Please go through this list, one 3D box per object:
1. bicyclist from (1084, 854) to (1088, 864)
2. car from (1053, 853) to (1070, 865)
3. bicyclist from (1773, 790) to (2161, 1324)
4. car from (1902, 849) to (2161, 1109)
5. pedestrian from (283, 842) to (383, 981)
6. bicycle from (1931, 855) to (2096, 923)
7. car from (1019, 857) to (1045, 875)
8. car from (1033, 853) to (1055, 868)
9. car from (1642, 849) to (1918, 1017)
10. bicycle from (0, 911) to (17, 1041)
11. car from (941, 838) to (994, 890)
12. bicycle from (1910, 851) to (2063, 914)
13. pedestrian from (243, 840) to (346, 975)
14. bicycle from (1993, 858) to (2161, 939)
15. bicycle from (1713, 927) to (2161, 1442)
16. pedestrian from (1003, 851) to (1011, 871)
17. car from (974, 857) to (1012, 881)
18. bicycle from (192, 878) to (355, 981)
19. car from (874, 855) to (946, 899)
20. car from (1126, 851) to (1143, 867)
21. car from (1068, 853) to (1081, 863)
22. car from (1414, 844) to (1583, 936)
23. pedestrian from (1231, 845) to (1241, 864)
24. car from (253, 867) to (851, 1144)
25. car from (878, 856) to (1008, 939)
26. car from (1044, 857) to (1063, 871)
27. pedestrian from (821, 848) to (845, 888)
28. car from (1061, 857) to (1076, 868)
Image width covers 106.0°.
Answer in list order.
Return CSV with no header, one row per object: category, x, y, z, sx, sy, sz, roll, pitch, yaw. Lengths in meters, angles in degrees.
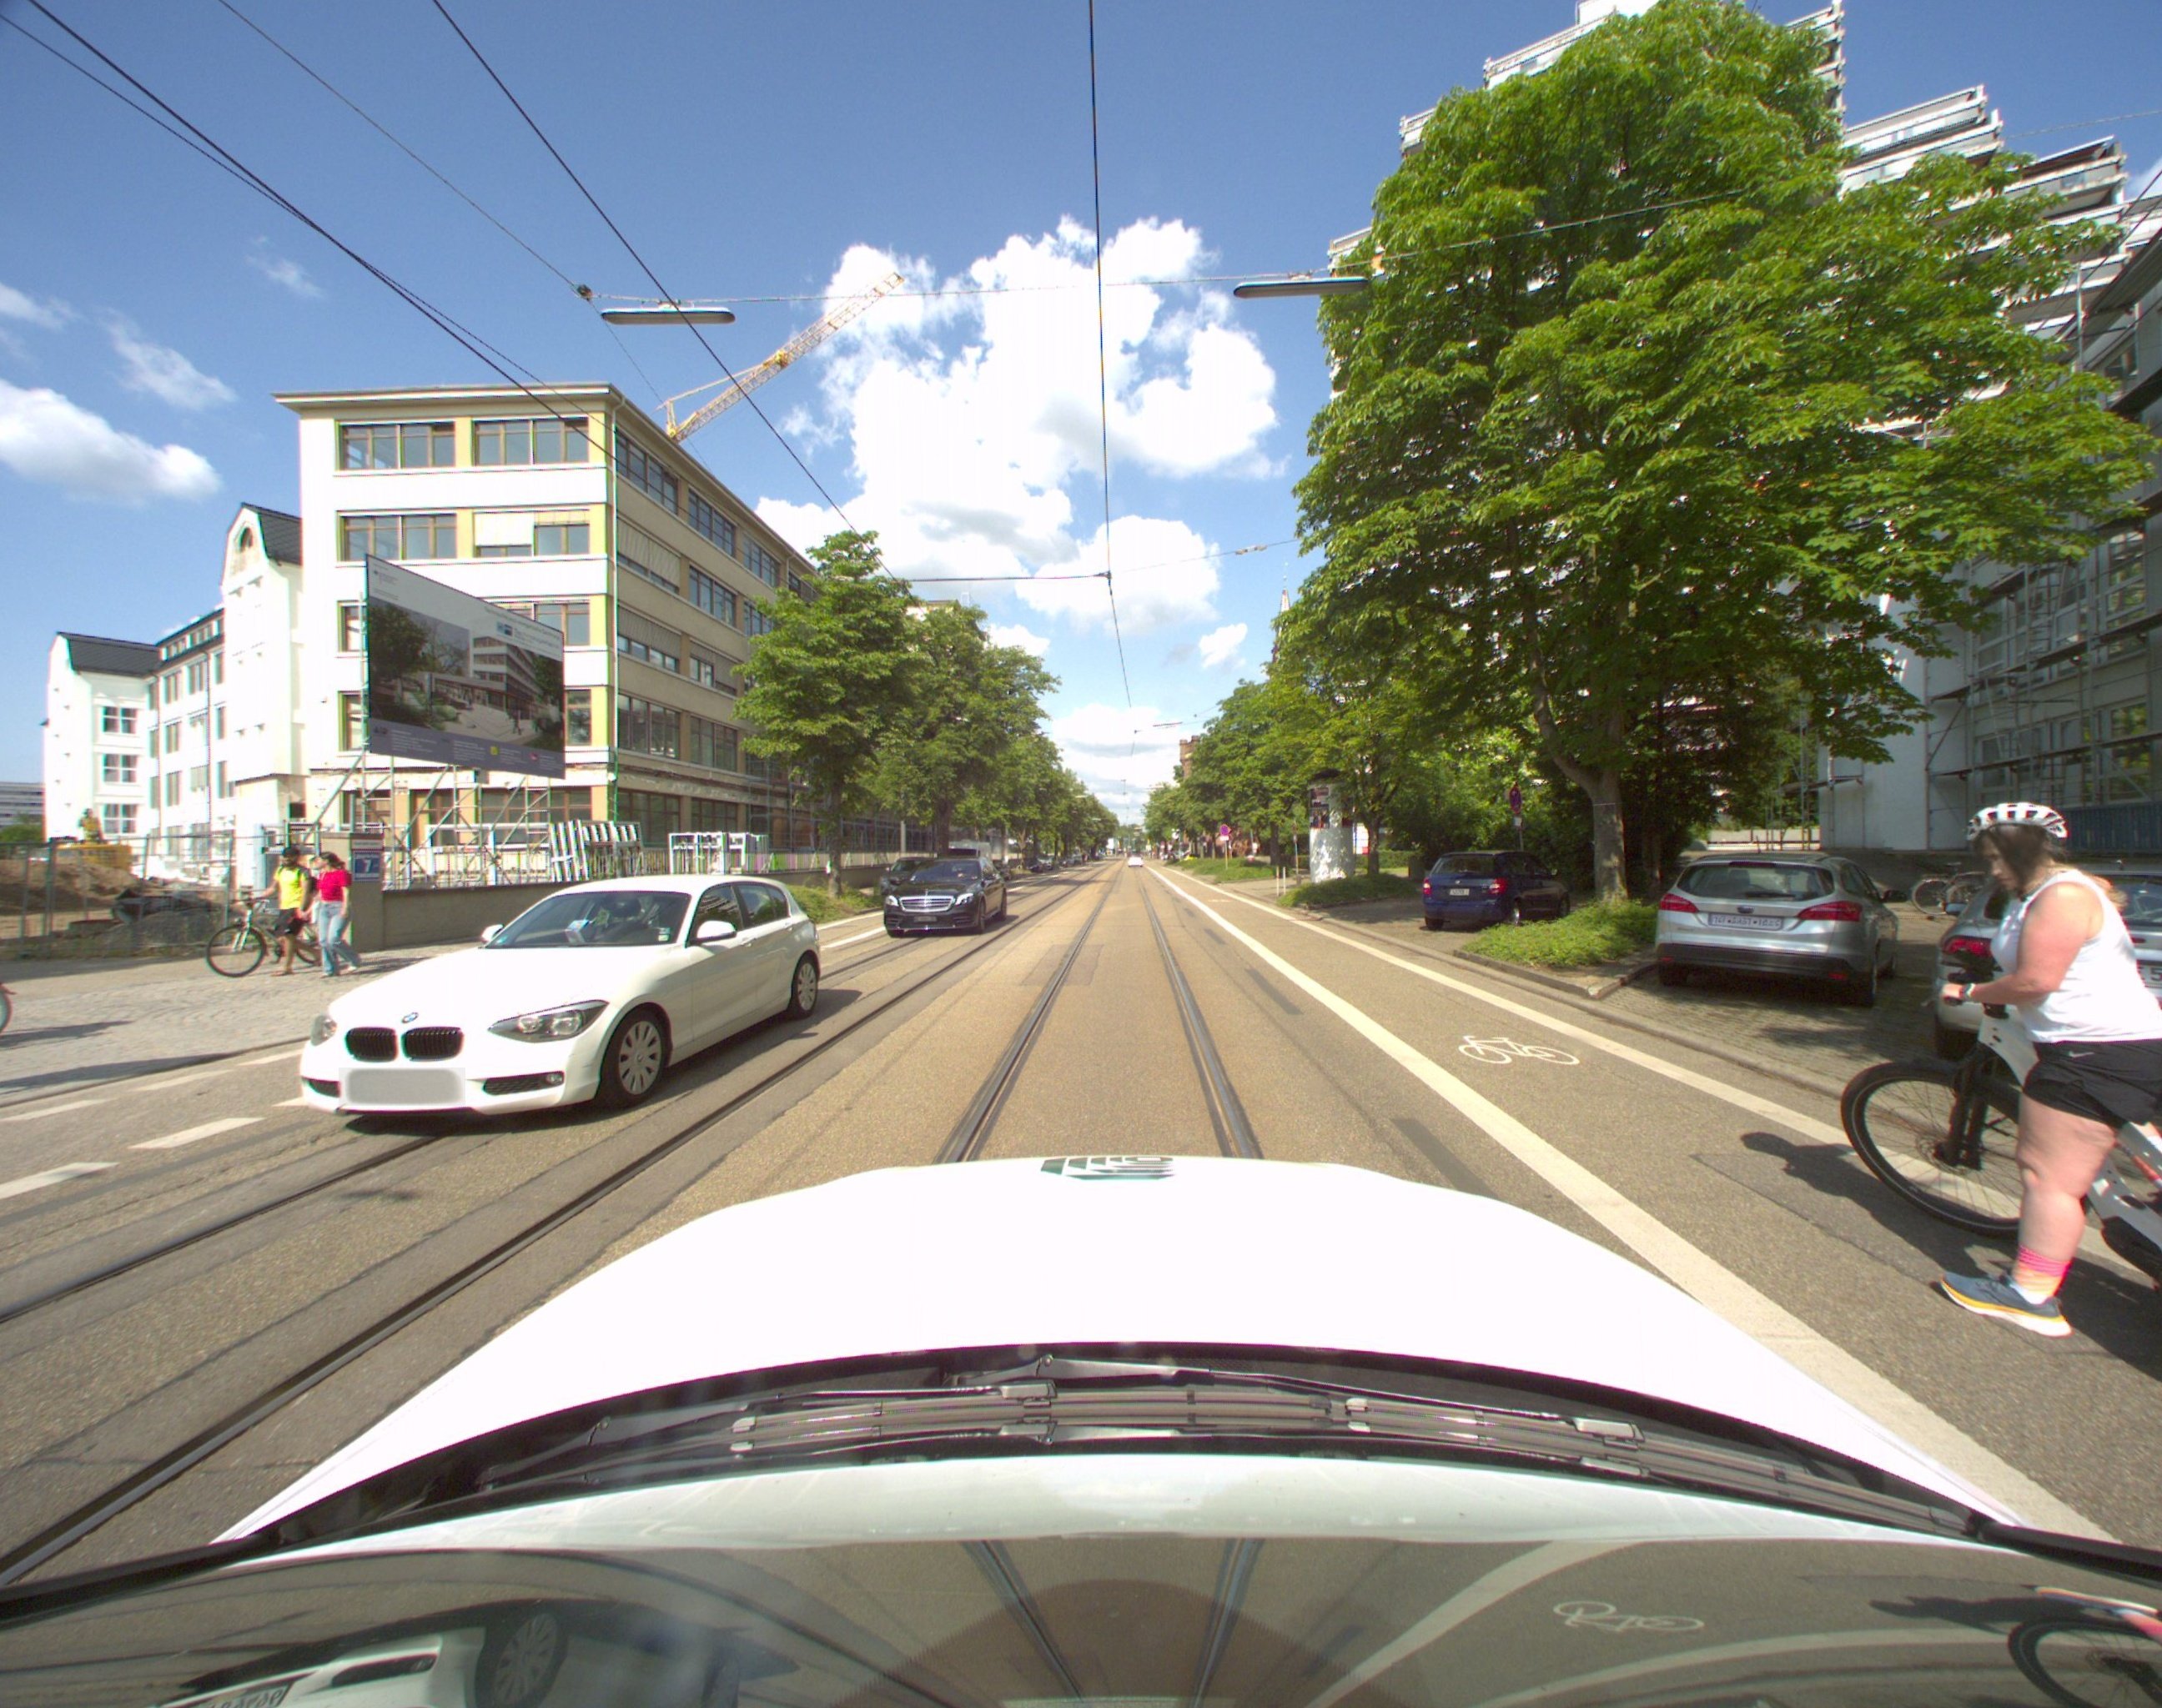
bicyclist,0.797,0.738,126.774,0.656,1.579,0.946,1,0,2
car,-2.490,0.625,106.109,1.797,1.516,4.106,-1,0,3
bicyclist,3.290,0.583,2.856,0.884,1.529,1.088,1,0,9
car,7.713,0.701,5.967,4.261,1.420,1.705,-1,1,-35
pedestrian,-10.292,0.770,11.228,0.705,1.831,0.661,2,1,-3
bicycle,15.924,0.577,13.968,1.809,1.096,0.454,-1,1,34
car,-4.370,1.035,73.406,1.797,1.516,4.106,1,0,3
car,-3.757,0.681,83.952,1.797,1.516,4.106,1,0,3
car,7.883,0.700,9.077,3.824,1.474,1.634,0,1,-39
bicycle,-10.163,1.087,6.513,0.641,1.166,1.945,1,-1,2
car,-6.002,0.512,43.577,1.762,2.639,5.326,1,0,3
bicycle,16.582,0.517,14.971,1.809,1.096,0.454,-1,0,34
pedestrian,-10.905,0.722,11.317,0.705,1.793,0.661,2,0,-3
bicycle,14.762,0.645,11.926,1.809,1.095,0.454,-2,2,34
bicycle,3.275,0.912,2.753,0.869,1.126,2.141,-1,0,9
pedestrian,-7.410,0.720,81.408,0.802,2.013,0.484,-1,0,-6
car,-5.691,0.944,52.990,1.797,1.516,4.106,1,0,3
bicycle,-11.332,1.015,11.518,0.444,1.286,1.741,-1,0,5
car,-6.839,0.871,32.921,1.797,1.662,4.106,1,0,3
car,6.044,0.539,91.827,1.660,1.624,3.621,-1,0,1
car,-0.956,0.631,129.404,1.797,1.516,4.106,-1,0,3
car,8.182,0.609,15.790,4.023,1.486,1.596,-2,0,-43
pedestrian,16.992,0.087,89.303,0.973,2.014,1.094,1,-1,2
car,-3.430,0.844,6.435,1.679,1.405,4.232,-2,-1,5
car,-2.770,0.819,17.423,1.793,1.508,4.539,-2,0,2
car,-3.109,1.118,91.938,1.797,1.516,4.106,1,0,3
pedestrian,-10.099,0.573,33.133,0.761,1.620,0.594,1,-1,3
car,-1.786,1.234,118.520,1.797,1.516,4.106,1,0,3
